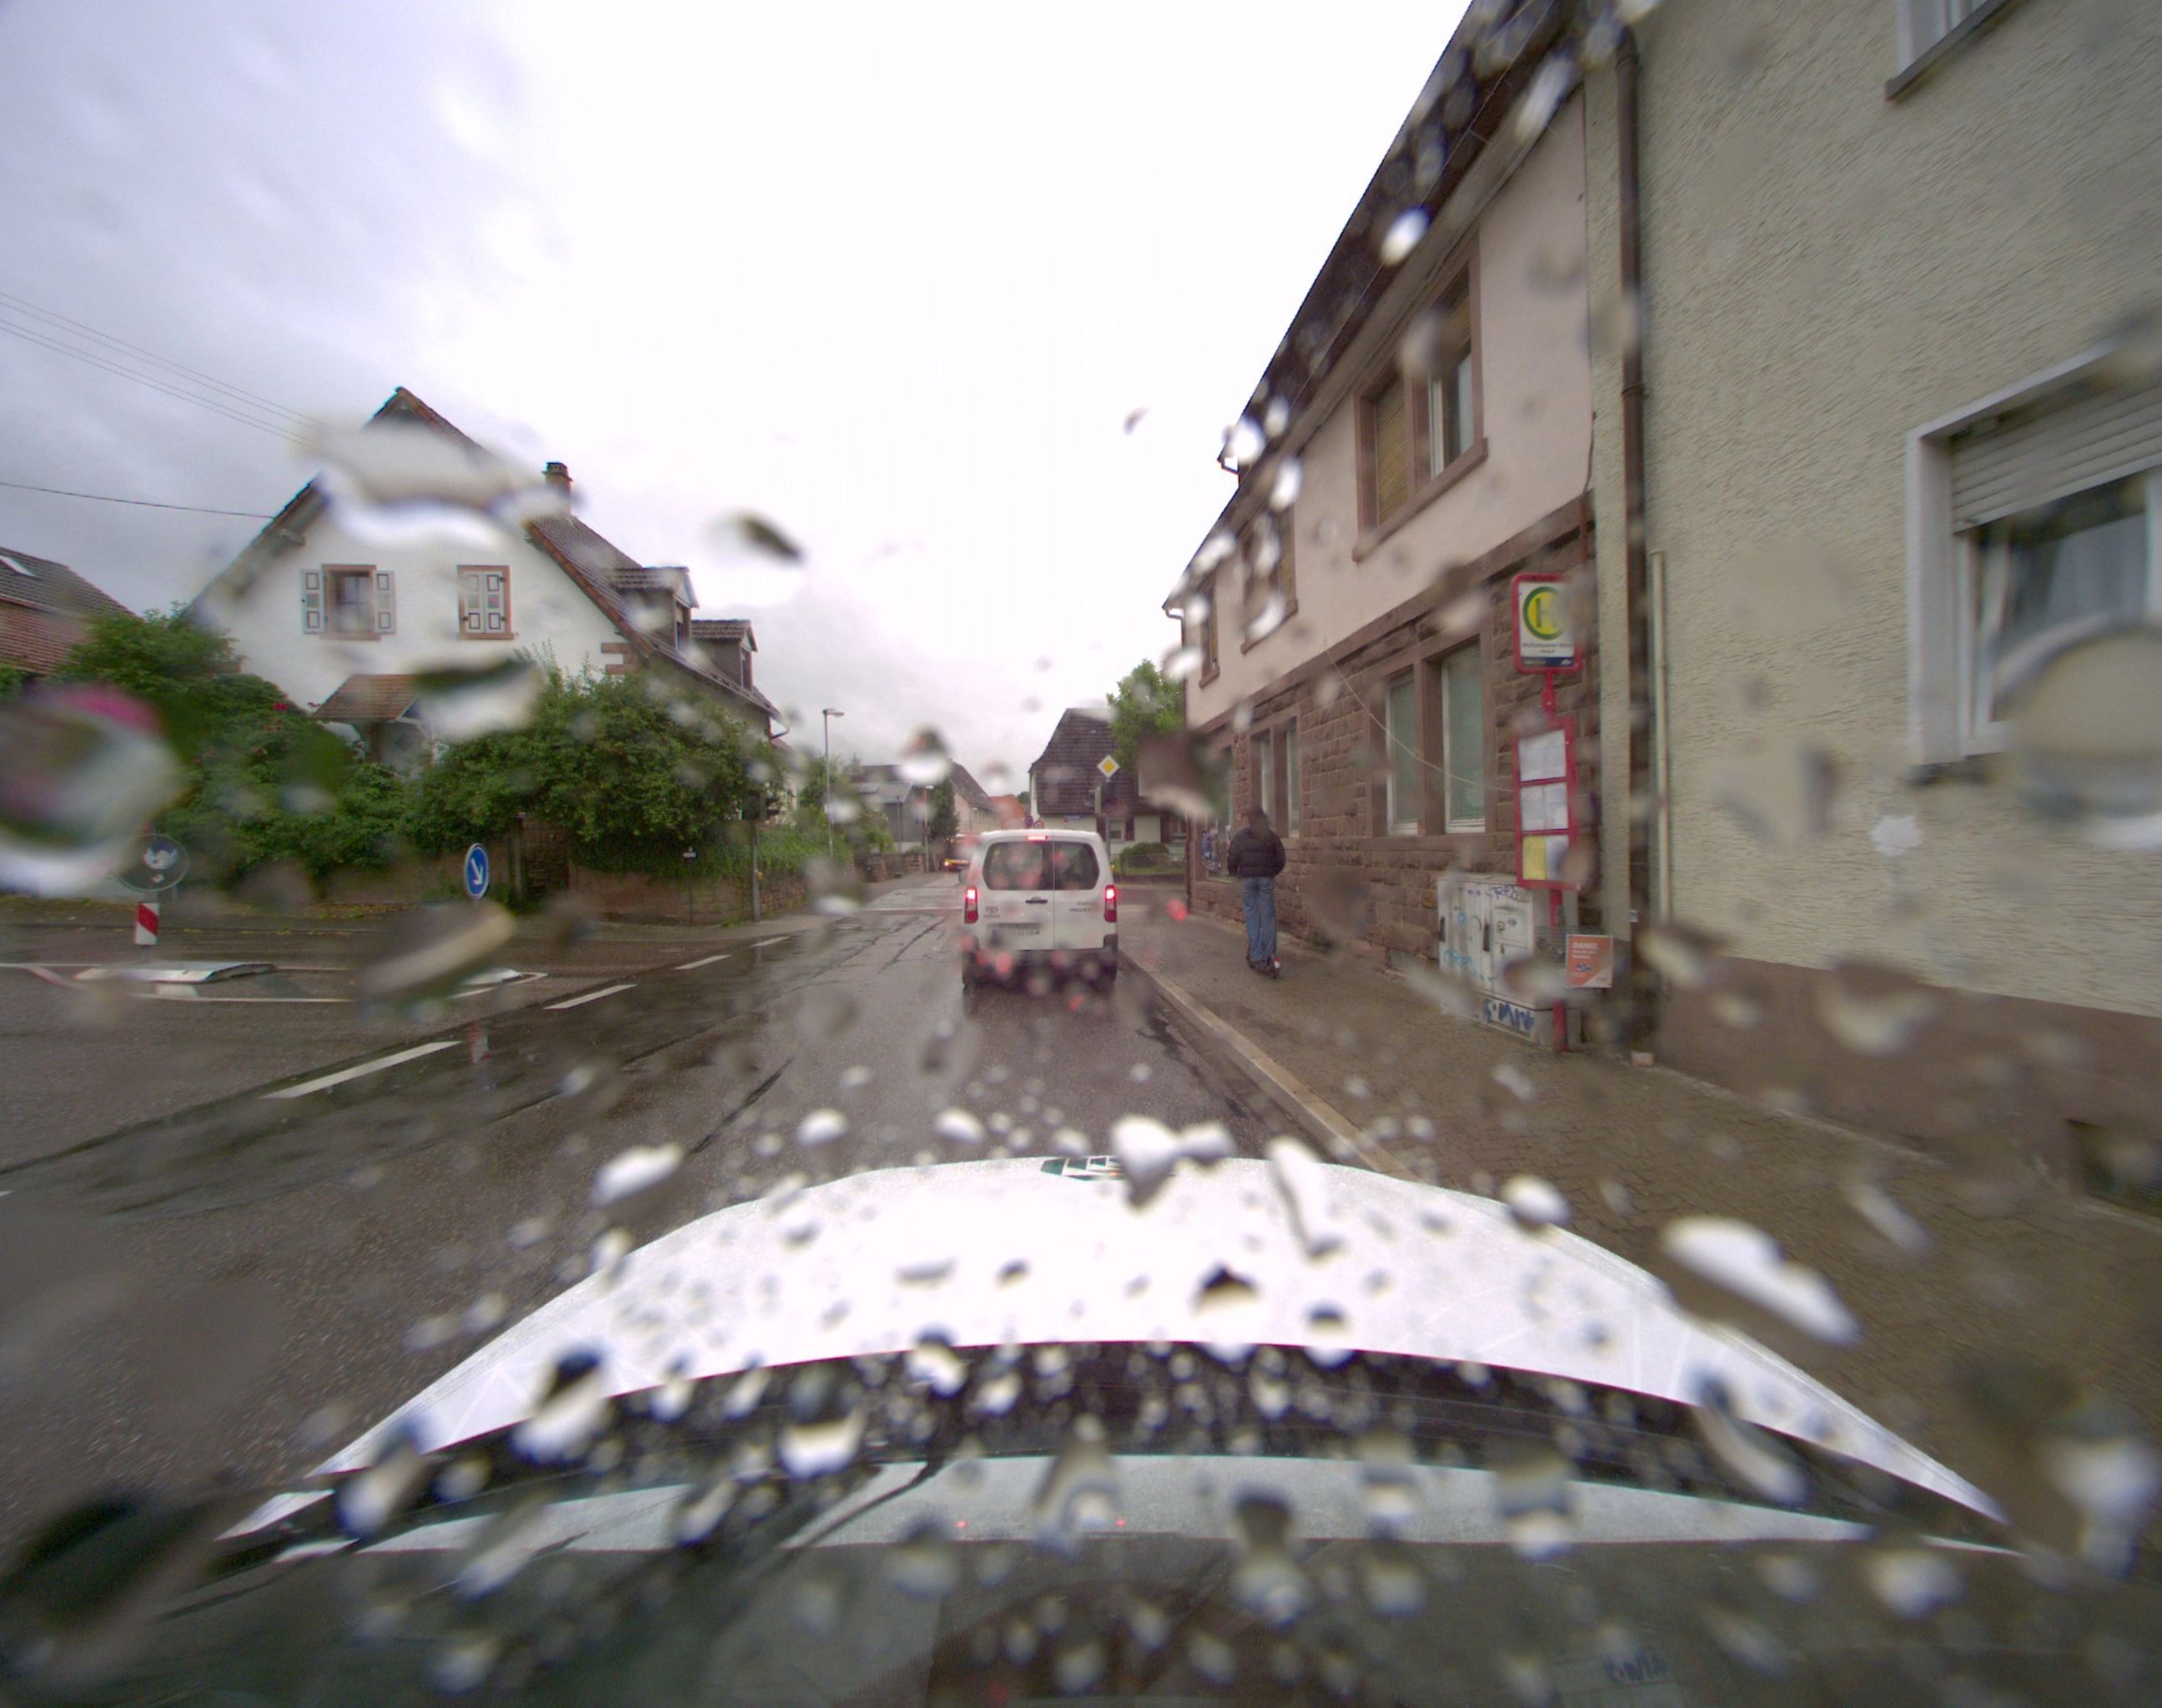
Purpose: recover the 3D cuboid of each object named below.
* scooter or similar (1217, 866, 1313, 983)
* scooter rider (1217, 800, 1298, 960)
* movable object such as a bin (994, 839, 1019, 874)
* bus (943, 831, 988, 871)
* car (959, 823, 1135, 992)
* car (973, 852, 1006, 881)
[{"bbox_3d":[1.993,0.730,9.006,0.619,1.127,1.399,-1,1,-6],"label":"scooter or similar"},{"bbox_3d":[1.972,0.284,9.150,0.730,1.733,0.517,-1,-1,-6],"label":"scooter rider"},{"bbox_3d":[-5.638,0.174,62.177,1.723,2.653,3.970,0,0,-3],"label":"movable object such as a bin"},{"bbox_3d":[-9.523,-0.376,68.526,2.643,2.999,12.180,-1,2,-3],"label":"bus"},{"bbox_3d":[-0.536,0.553,10.627,1.892,1.794,3.806,0,0,-6],"label":"car"},{"bbox_3d":[-5.273,0.714,47.308,1.807,1.596,3.749,0,0,-5],"label":"car"}]
